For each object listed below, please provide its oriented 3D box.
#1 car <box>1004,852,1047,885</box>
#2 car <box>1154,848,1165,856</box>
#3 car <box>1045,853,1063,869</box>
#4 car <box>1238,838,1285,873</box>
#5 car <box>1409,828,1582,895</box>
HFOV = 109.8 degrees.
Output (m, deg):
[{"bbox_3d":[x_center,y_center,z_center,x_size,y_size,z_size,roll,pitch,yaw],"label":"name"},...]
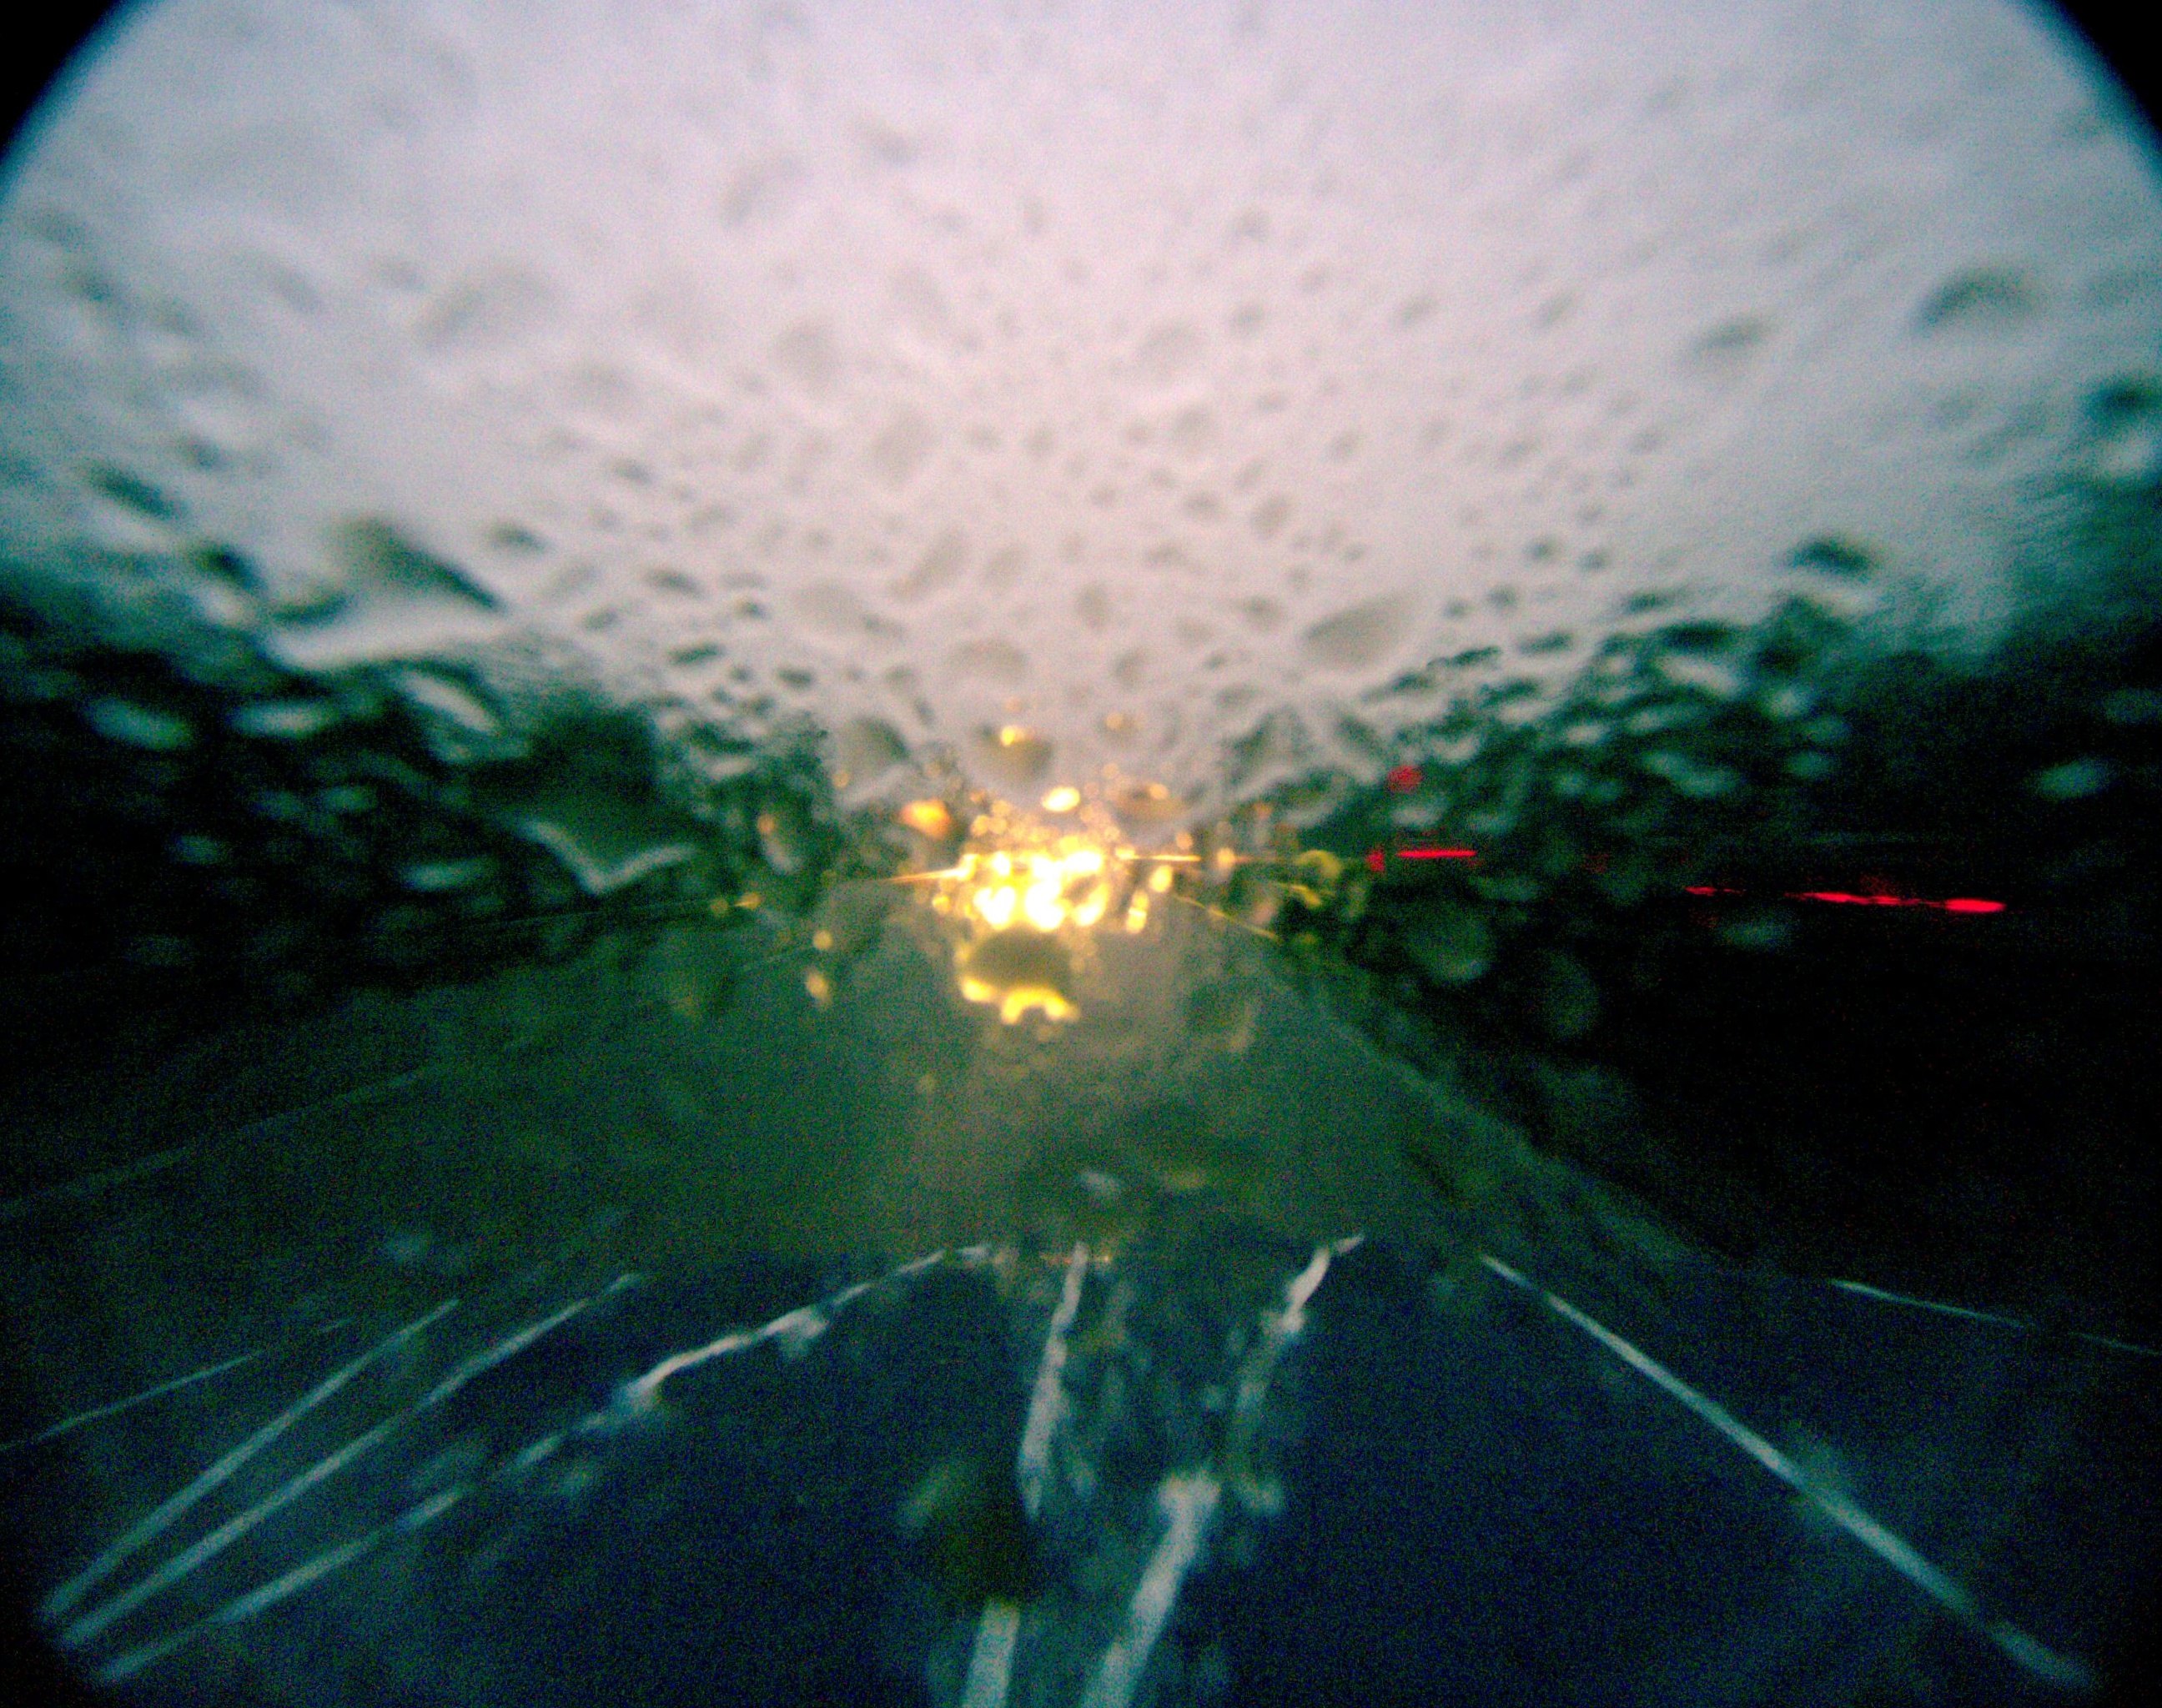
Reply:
[{"bbox_3d":[-2.737,0.676,38.378,1.791,1.508,3.811,-2,0,1],"label":"car"},{"bbox_3d":[13.977,-0.407,135.554,1.502,1.388,4.053,-1,0,1],"label":"car"},{"bbox_3d":[-2.683,0.730,76.881,1.598,1.482,3.594,-3,0,1],"label":"car"},{"bbox_3d":[12.348,0.066,52.309,1.998,2.199,4.921,-4,1,1],"label":"car"},{"bbox_3d":[11.661,0.162,21.940,1.998,1.586,5.429,-4,1,0],"label":"car"}]
